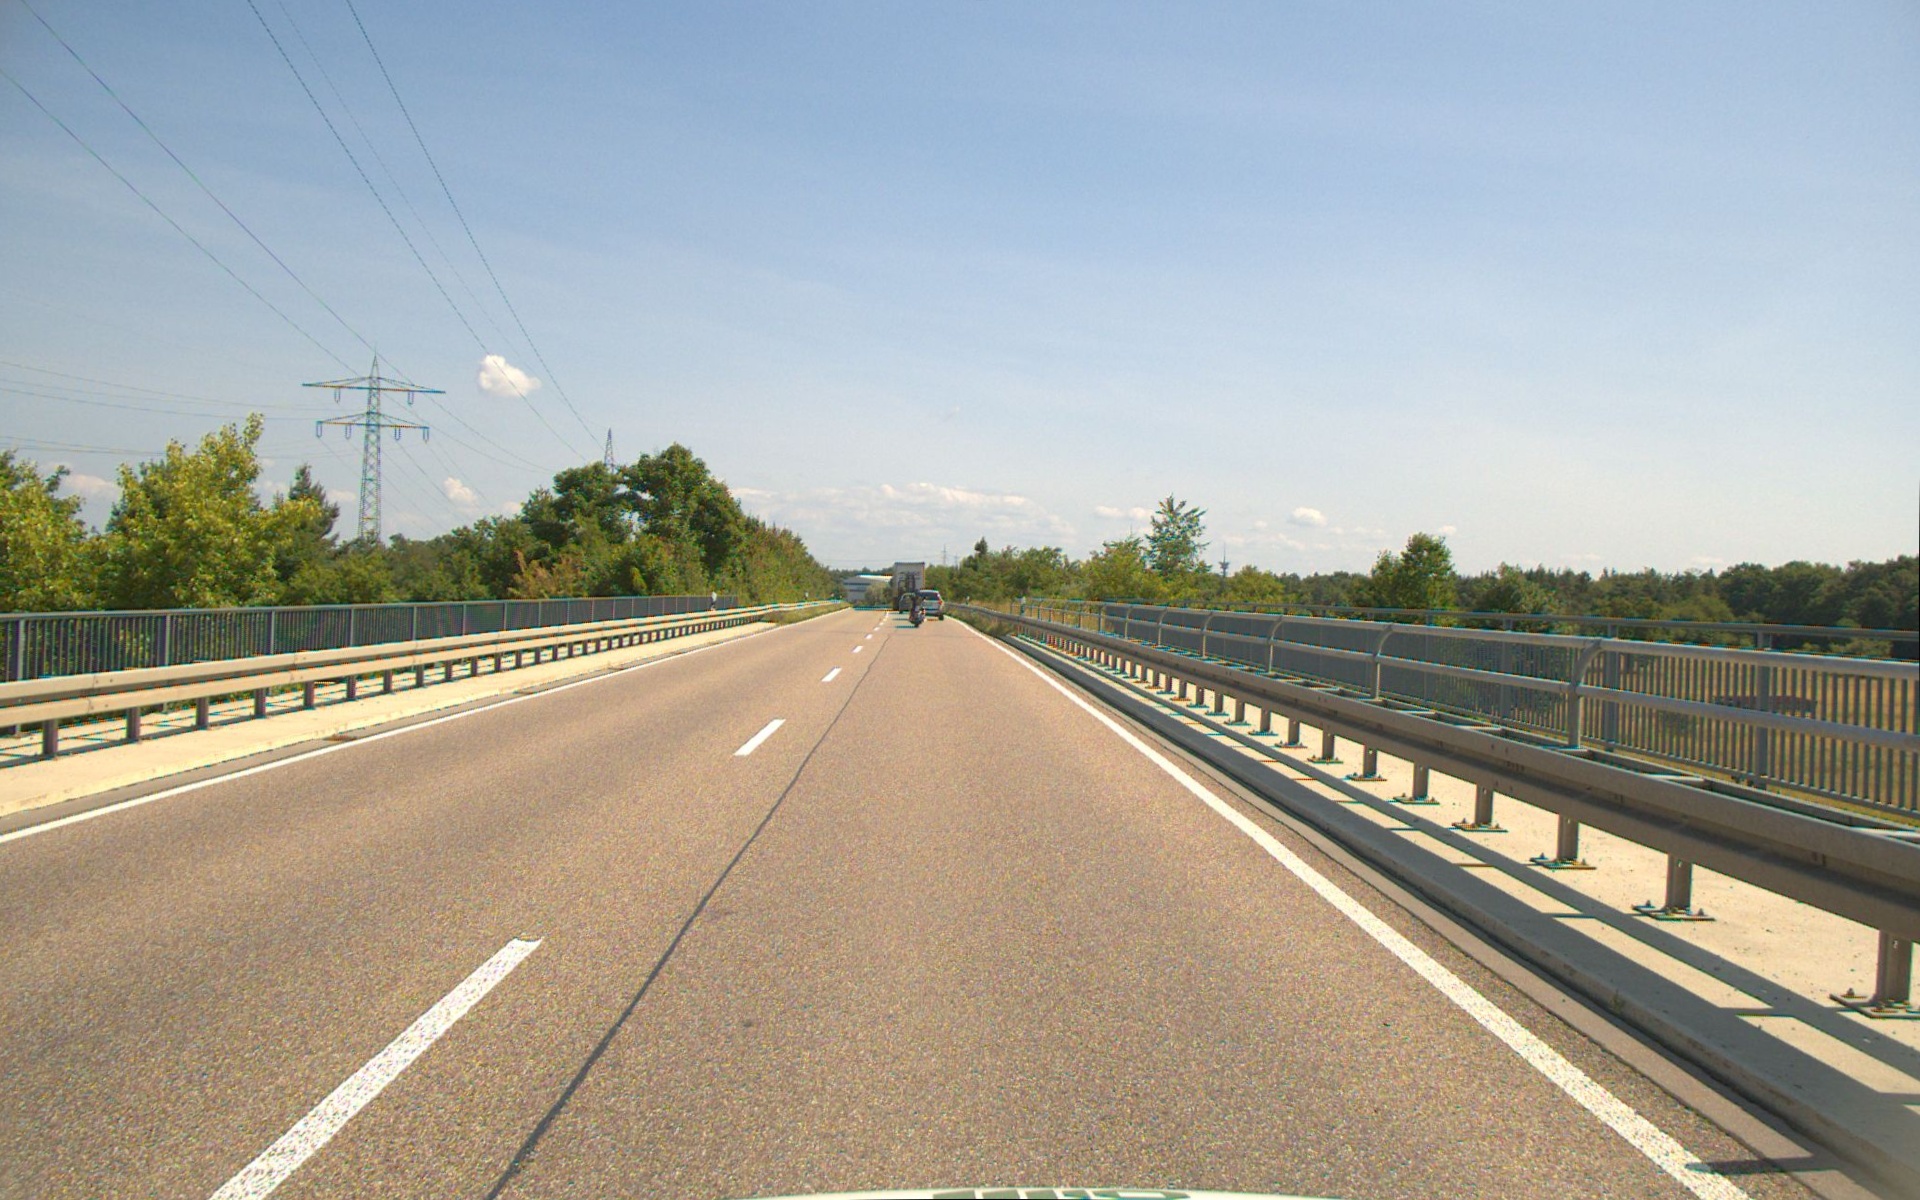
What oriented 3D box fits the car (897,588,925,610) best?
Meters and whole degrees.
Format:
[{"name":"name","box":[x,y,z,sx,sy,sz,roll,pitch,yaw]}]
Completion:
[{"name":"car","box":[-3.485,-0.062,117.837,1.828,1.445,4.000,1,1,0]}]

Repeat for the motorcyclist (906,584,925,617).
[{"name":"motorcyclist","box":[-1.852,0.018,68.629,0.764,1.348,0.813,0,1,0]}]

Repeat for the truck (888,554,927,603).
[{"name":"truck","box":[-4.553,-1.865,144.887,3.175,4.048,9.443,0,0,-1]}]

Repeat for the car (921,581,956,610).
[{"name":"car","box":[-1.155,-0.271,88.114,1.788,1.476,4.000,0,1,-1]}]

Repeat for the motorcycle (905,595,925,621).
[{"name":"motorcycle","box":[-1.864,0.318,68.612,0.764,0.992,2.362,0,1,0]}]
